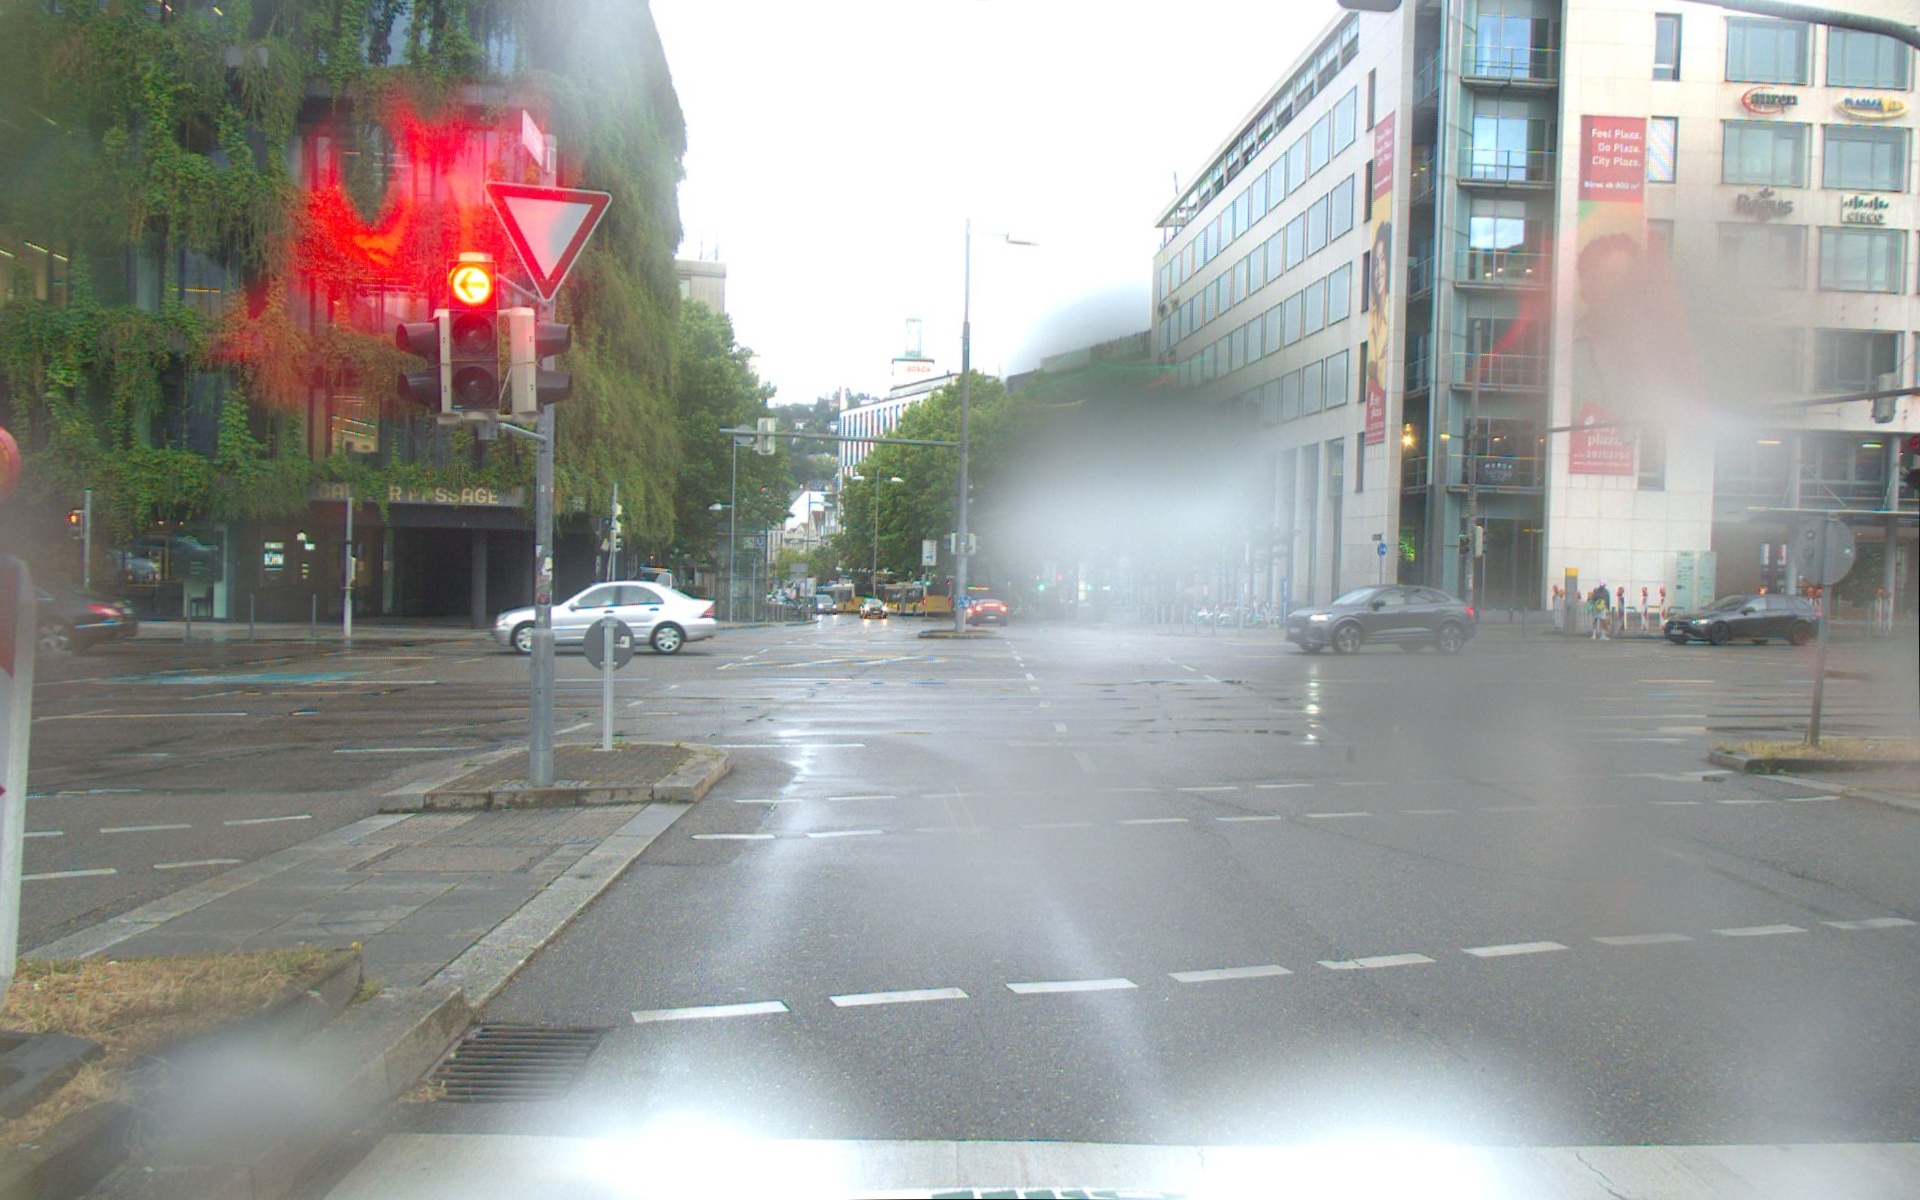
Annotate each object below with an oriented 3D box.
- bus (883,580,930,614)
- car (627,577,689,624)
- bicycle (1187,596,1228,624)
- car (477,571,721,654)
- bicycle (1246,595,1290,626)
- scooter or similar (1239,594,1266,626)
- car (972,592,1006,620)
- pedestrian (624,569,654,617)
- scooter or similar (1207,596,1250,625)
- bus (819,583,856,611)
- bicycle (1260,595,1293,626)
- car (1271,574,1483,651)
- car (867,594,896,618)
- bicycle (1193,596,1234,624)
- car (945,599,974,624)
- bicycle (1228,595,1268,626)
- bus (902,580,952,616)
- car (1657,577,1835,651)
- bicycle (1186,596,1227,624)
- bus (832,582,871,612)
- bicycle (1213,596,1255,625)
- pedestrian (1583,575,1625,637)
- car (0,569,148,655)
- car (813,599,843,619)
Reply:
[{"bbox_3d":[-4.976,-0.272,153.008,2.585,3.048,7.417,0,0,-16],"label":"bus"},{"bbox_3d":[-12.395,0.027,68.132,1.832,1.871,3.999,1,0,-1],"label":"car"},{"bbox_3d":[11.000,0.432,73.562,1.741,1.215,0.586,1,-1,1],"label":"bicycle"},{"bbox_3d":[-7.240,0.231,33.158,4.641,1.502,1.992,0,3,-16],"label":"car"},{"bbox_3d":[12.117,0.415,65.014,1.590,1.215,0.586,1,-1,25],"label":"bicycle"},{"bbox_3d":[11.381,0.399,64.318,0.946,1.215,0.453,1,-1,40],"label":"scooter or similar"},{"bbox_3d":[1.613,0.332,92.028,1.745,1.534,3.999,1,0,-1],"label":"car"},{"bbox_3d":[-11.471,-0.238,59.161,0.915,1.673,0.774,1,-1,-1],"label":"pedestrian"},{"bbox_3d":[11.543,0.431,71.144,1.741,1.215,0.586,1,-1,1],"label":"scooter or similar"},{"bbox_3d":[-13.352,-0.340,180.123,2.585,3.048,7.417,0,0,-16],"label":"bus"},{"bbox_3d":[12.855,0.437,67.134,0.575,1.215,1.776,1,-1,37],"label":"bicycle"},{"bbox_3d":[9.521,0.295,37.786,4.402,1.637,1.823,1,0,-17],"label":"car"},{"bbox_3d":[-6.029,0.430,126.724,2.121,1.796,5.108,0,0,-4],"label":"car"},{"bbox_3d":[11.417,0.443,74.486,1.741,1.215,0.586,1,-1,1],"label":"bicycle"},{"bbox_3d":[-0.052,0.735,106.681,1.745,1.534,3.999,1,0,-1],"label":"car"},{"bbox_3d":[11.580,0.412,66.558,0.578,1.215,1.766,1,0,-28],"label":"bicycle"},{"bbox_3d":[-2.980,-0.226,145.891,2.585,3.048,7.417,0,0,-16],"label":"bus"},{"bbox_3d":[22.745,0.414,47.897,4.565,2.049,1.546,1,0,-8],"label":"car"},{"bbox_3d":[10.858,0.427,72.925,1.741,1.215,0.586,1,-1,1],"label":"bicycle"},{"bbox_3d":[-11.354,-0.300,173.056,2.585,3.048,7.296,0,0,-16],"label":"bus"},{"bbox_3d":[11.887,0.440,71.772,1.741,1.215,0.586,1,-1,1],"label":"bicycle"},{"bbox_3d":[19.447,0.187,49.953,0.942,1.848,0.836,1,-1,-1],"label":"pedestrian"},{"bbox_3d":[-17.633,0.216,30.104,4.768,1.503,1.991,1,-2,-16],"label":"car"},{"bbox_3d":[-11.713,0.793,146.559,2.125,1.796,4.817,-1,0,-11],"label":"car"}]
